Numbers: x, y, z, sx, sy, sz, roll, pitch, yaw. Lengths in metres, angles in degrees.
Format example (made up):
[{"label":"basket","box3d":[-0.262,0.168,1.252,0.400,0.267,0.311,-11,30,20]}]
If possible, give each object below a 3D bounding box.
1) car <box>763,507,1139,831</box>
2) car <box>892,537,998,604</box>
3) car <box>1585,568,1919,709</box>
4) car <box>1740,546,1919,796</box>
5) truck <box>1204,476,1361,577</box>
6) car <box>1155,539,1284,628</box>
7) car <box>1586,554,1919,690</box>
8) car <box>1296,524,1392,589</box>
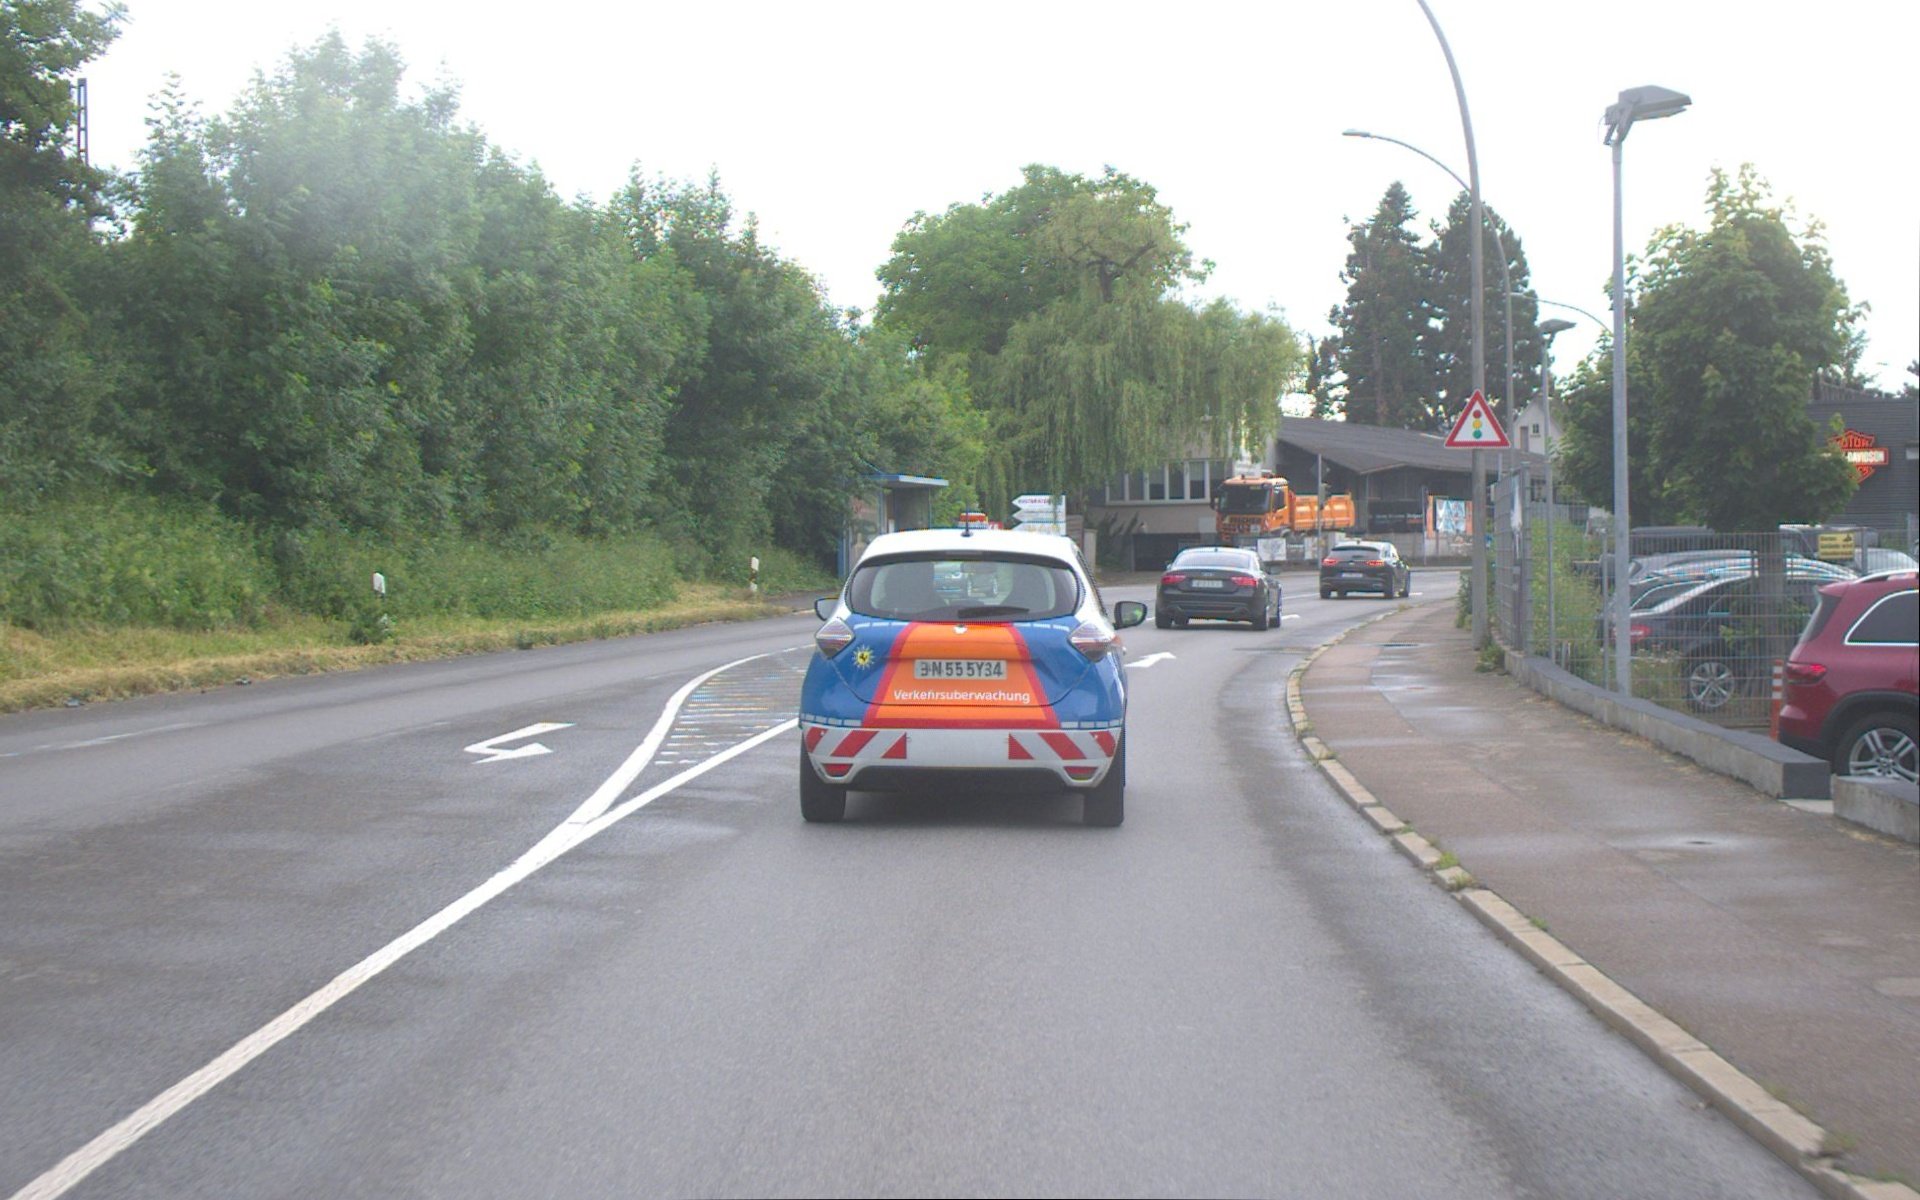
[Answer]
[{"label":"car","box3d":[0.012,0.309,19.307,1.888,1.626,4.000,0,1,2]},{"label":"car","box3d":[-0.328,-0.696,82.975,1.994,1.469,4.699,2,0,6]},{"label":"car","box3d":[9.039,0.428,37.637,4.108,1.365,2.000,2,0,5]},{"label":"car","box3d":[7.976,0.559,23.565,4.691,1.657,1.996,2,0,31]},{"label":"truck","box3d":[12.374,-2.754,131.209,2.701,3.400,9.058,2,0,27]},{"label":"car","box3d":[4.405,-0.248,57.851,1.721,1.371,3.932,2,0,10]},{"label":"car","box3d":[9.456,0.259,40.175,3.987,1.403,1.593,2,0,3]},{"label":"car","box3d":[9.459,-1.049,84.474,1.994,1.415,3.998,2,0,11]}]
